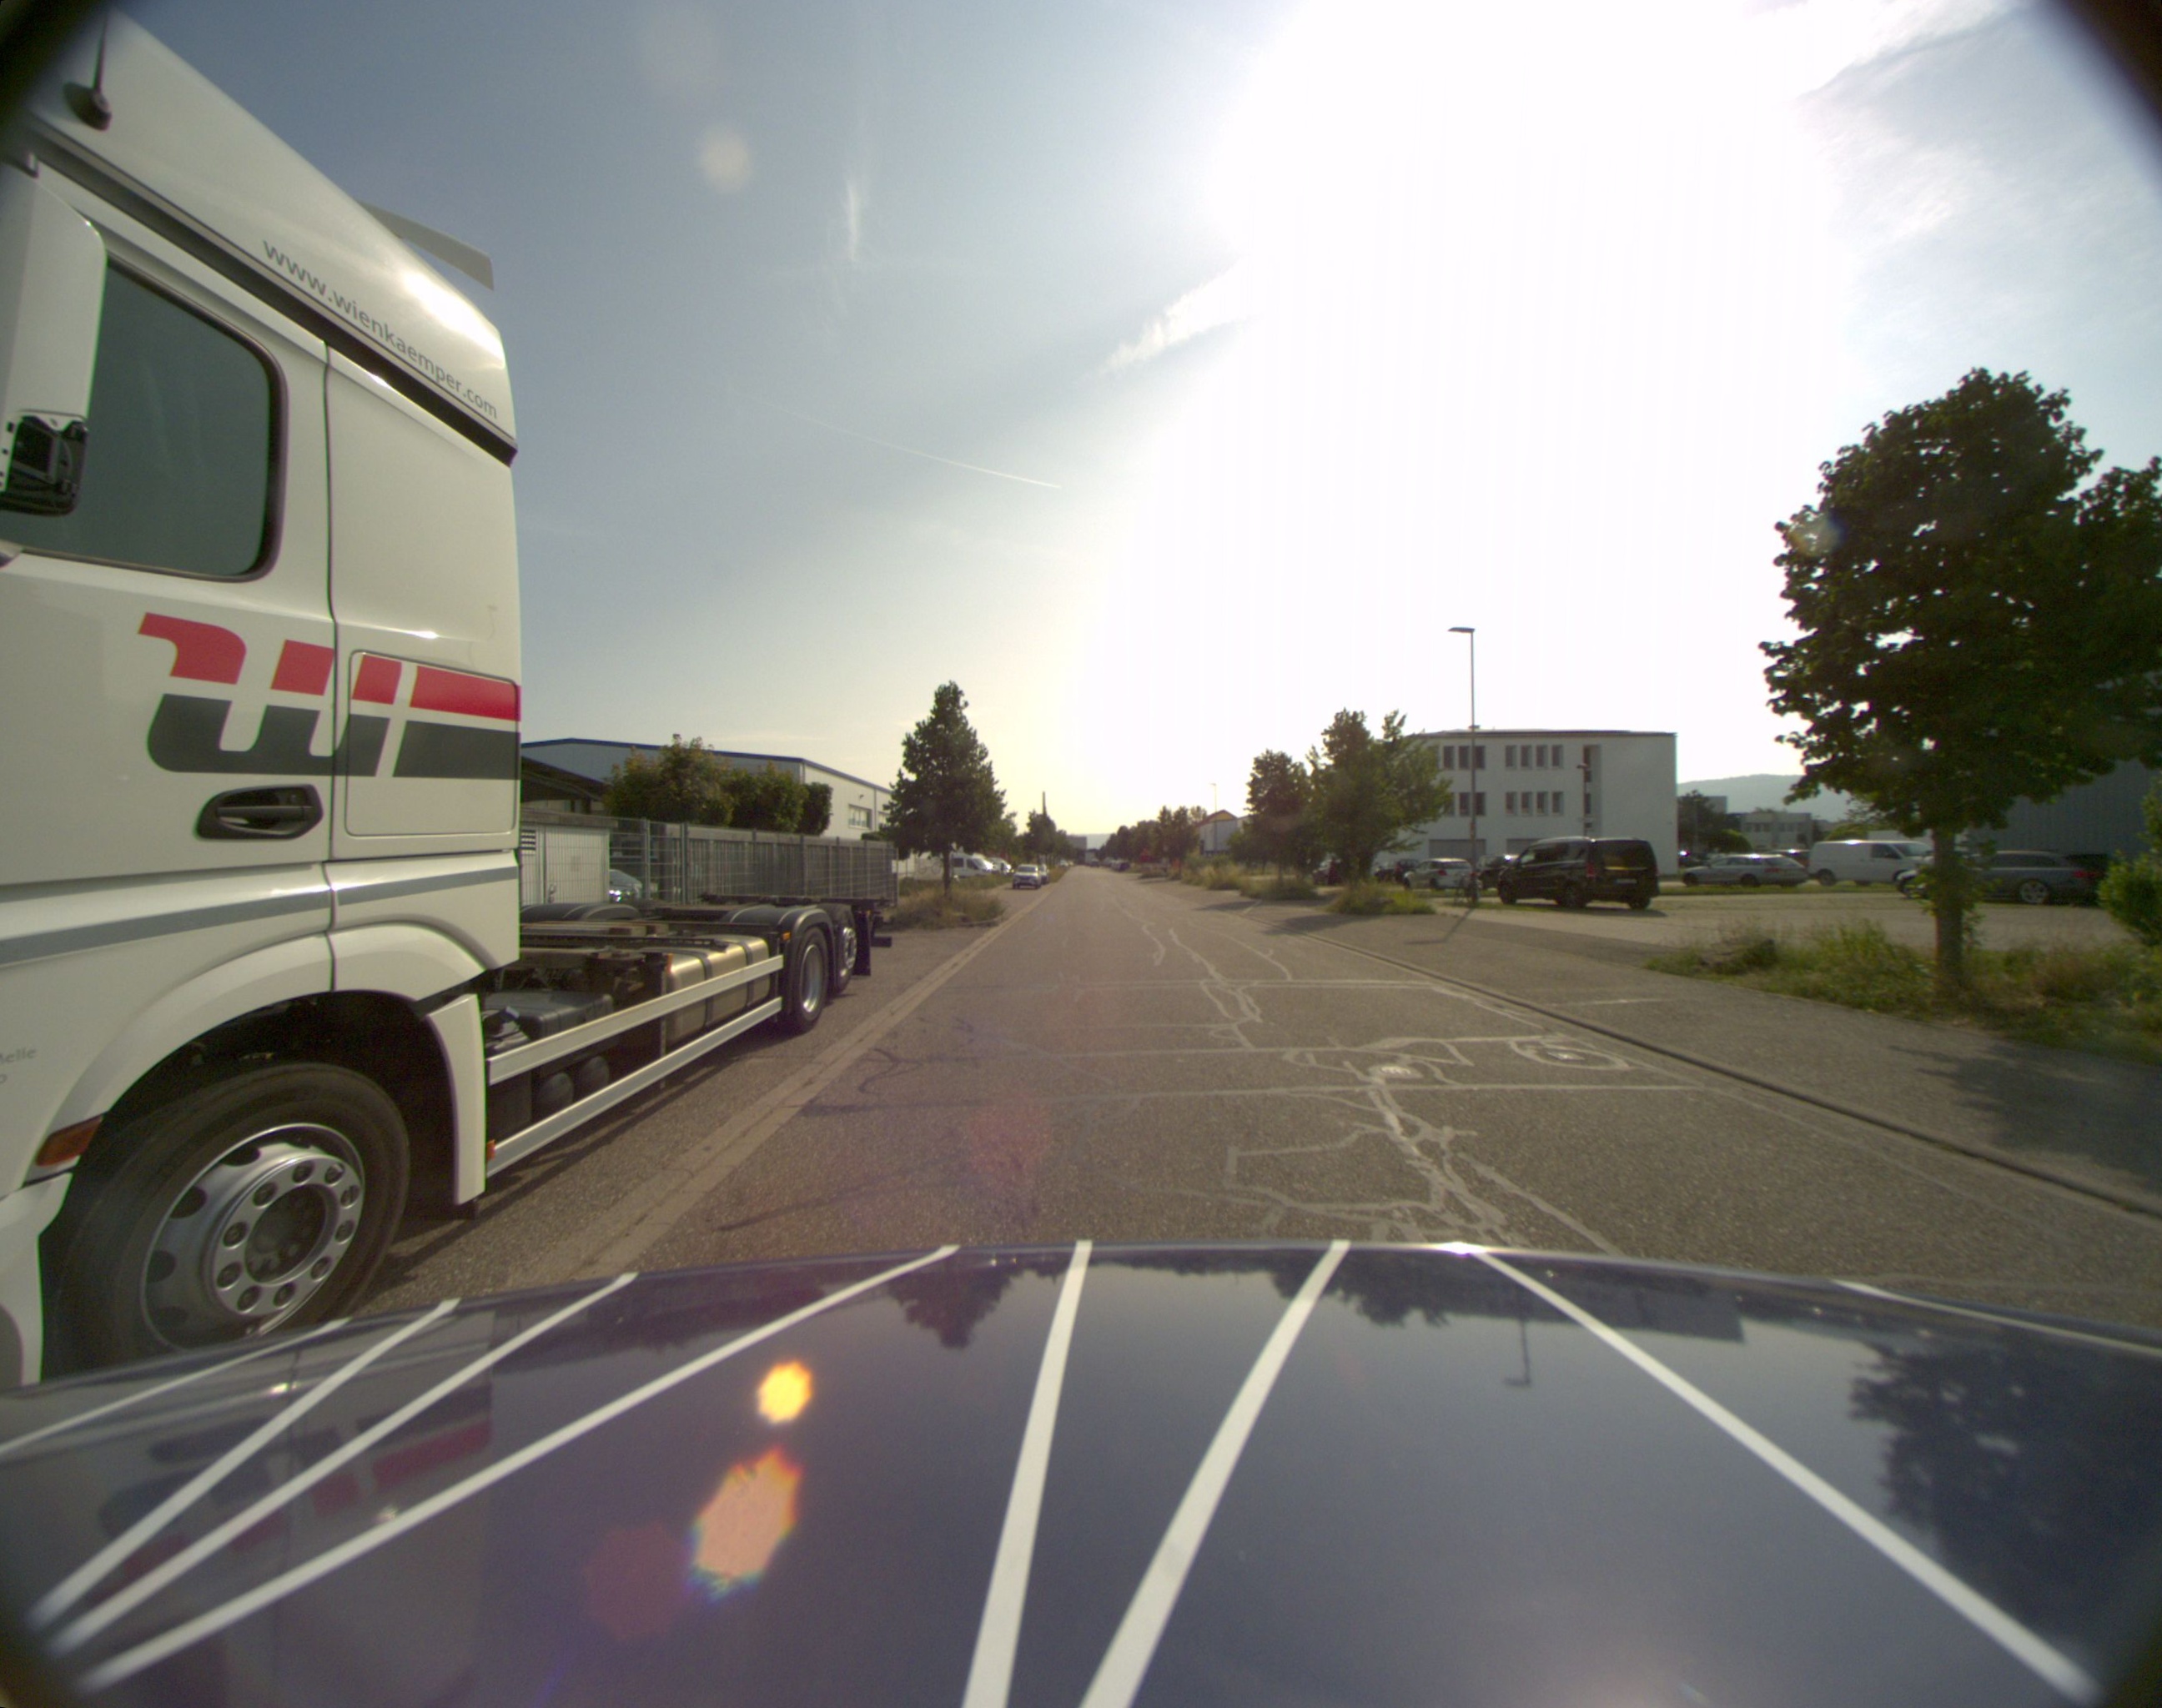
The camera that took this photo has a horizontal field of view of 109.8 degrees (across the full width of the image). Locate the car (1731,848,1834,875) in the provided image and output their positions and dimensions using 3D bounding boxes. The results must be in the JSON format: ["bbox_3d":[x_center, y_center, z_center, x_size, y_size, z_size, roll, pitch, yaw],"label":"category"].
[{"bbox_3d":[40.168,0.432,43.661,1.759,1.459,4.564,-1,0,1],"label":"car"}]

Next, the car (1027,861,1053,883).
[{"bbox_3d":[-2.971,1.292,55.934,1.694,1.495,3.541,1,0,0],"label":"car"}]

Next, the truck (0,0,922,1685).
[{"bbox_3d":[-3.529,-0.334,5.368,2.753,3.991,9.686,1,0,0],"label":"truck"}]

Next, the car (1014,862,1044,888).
[{"bbox_3d":[-3.234,1.292,47.695,1.668,1.495,3.541,1,0,0],"label":"car"}]

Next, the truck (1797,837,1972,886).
[{"bbox_3d":[33.611,0.311,32.046,1.999,1.892,4.952,-1,0,-3],"label":"truck"}]

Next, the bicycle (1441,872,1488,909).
[{"bbox_3d":[11.128,1.037,22.107,0.541,0.973,1.871,-1,0,4],"label":"bicycle"}]

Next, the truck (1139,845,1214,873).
[{"bbox_3d":[10.348,0.530,81.580,8.863,2.817,2.507,2,0,-40],"label":"truck"}]

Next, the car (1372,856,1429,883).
[{"bbox_3d":[18.429,0.880,44.004,1.759,1.459,3.918,-1,0,1],"label":"car"}]

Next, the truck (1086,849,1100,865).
[{"bbox_3d":[3.188,0.760,202.545,3.413,4.017,10.394,-2,0,0],"label":"truck"}]

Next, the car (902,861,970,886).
[{"bbox_3d":[-9.020,1.198,47.248,3.989,1.489,1.902,-1,0,36],"label":"car"}]

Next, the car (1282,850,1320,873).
[{"bbox_3d":[18.657,0.611,64.745,1.998,1.827,4.695,-1,0,2],"label":"car"}]

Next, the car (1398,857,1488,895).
[{"bbox_3d":[15.049,0.873,31.819,1.790,1.441,3.917,-1,0,-2],"label":"car"}]

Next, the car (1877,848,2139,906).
[{"bbox_3d":[26.302,0.606,21.891,1.719,1.452,4.782,-1,0,0],"label":"car"}]

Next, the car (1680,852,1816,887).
[{"bbox_3d":[27.892,0.618,31.995,1.737,1.364,4.381,-1,0,-3],"label":"car"}]

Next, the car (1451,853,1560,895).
[{"bbox_3d":[17.382,0.766,31.399,1.947,1.597,4.509,-1,0,0],"label":"car"}]

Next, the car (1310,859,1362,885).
[{"bbox_3d":[14.749,1.010,44.188,1.759,1.401,3.918,-1,0,1],"label":"car"}]

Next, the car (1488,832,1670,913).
[{"bbox_3d":[13.783,0.480,21.473,1.886,2.002,4.991,0,0,0],"label":"car"}]

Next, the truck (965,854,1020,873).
[{"bbox_3d":[-9.471,1.024,81.163,5.815,2.009,2.280,-1,0,38],"label":"truck"}]

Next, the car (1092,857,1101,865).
[{"bbox_3d":[2.965,1.372,150.470,1.668,1.495,3.540,-1,1,0],"label":"car"}]

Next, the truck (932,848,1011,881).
[{"bbox_3d":[-8.642,0.797,59.720,6.194,2.516,2.280,0,0,33],"label":"truck"}]
